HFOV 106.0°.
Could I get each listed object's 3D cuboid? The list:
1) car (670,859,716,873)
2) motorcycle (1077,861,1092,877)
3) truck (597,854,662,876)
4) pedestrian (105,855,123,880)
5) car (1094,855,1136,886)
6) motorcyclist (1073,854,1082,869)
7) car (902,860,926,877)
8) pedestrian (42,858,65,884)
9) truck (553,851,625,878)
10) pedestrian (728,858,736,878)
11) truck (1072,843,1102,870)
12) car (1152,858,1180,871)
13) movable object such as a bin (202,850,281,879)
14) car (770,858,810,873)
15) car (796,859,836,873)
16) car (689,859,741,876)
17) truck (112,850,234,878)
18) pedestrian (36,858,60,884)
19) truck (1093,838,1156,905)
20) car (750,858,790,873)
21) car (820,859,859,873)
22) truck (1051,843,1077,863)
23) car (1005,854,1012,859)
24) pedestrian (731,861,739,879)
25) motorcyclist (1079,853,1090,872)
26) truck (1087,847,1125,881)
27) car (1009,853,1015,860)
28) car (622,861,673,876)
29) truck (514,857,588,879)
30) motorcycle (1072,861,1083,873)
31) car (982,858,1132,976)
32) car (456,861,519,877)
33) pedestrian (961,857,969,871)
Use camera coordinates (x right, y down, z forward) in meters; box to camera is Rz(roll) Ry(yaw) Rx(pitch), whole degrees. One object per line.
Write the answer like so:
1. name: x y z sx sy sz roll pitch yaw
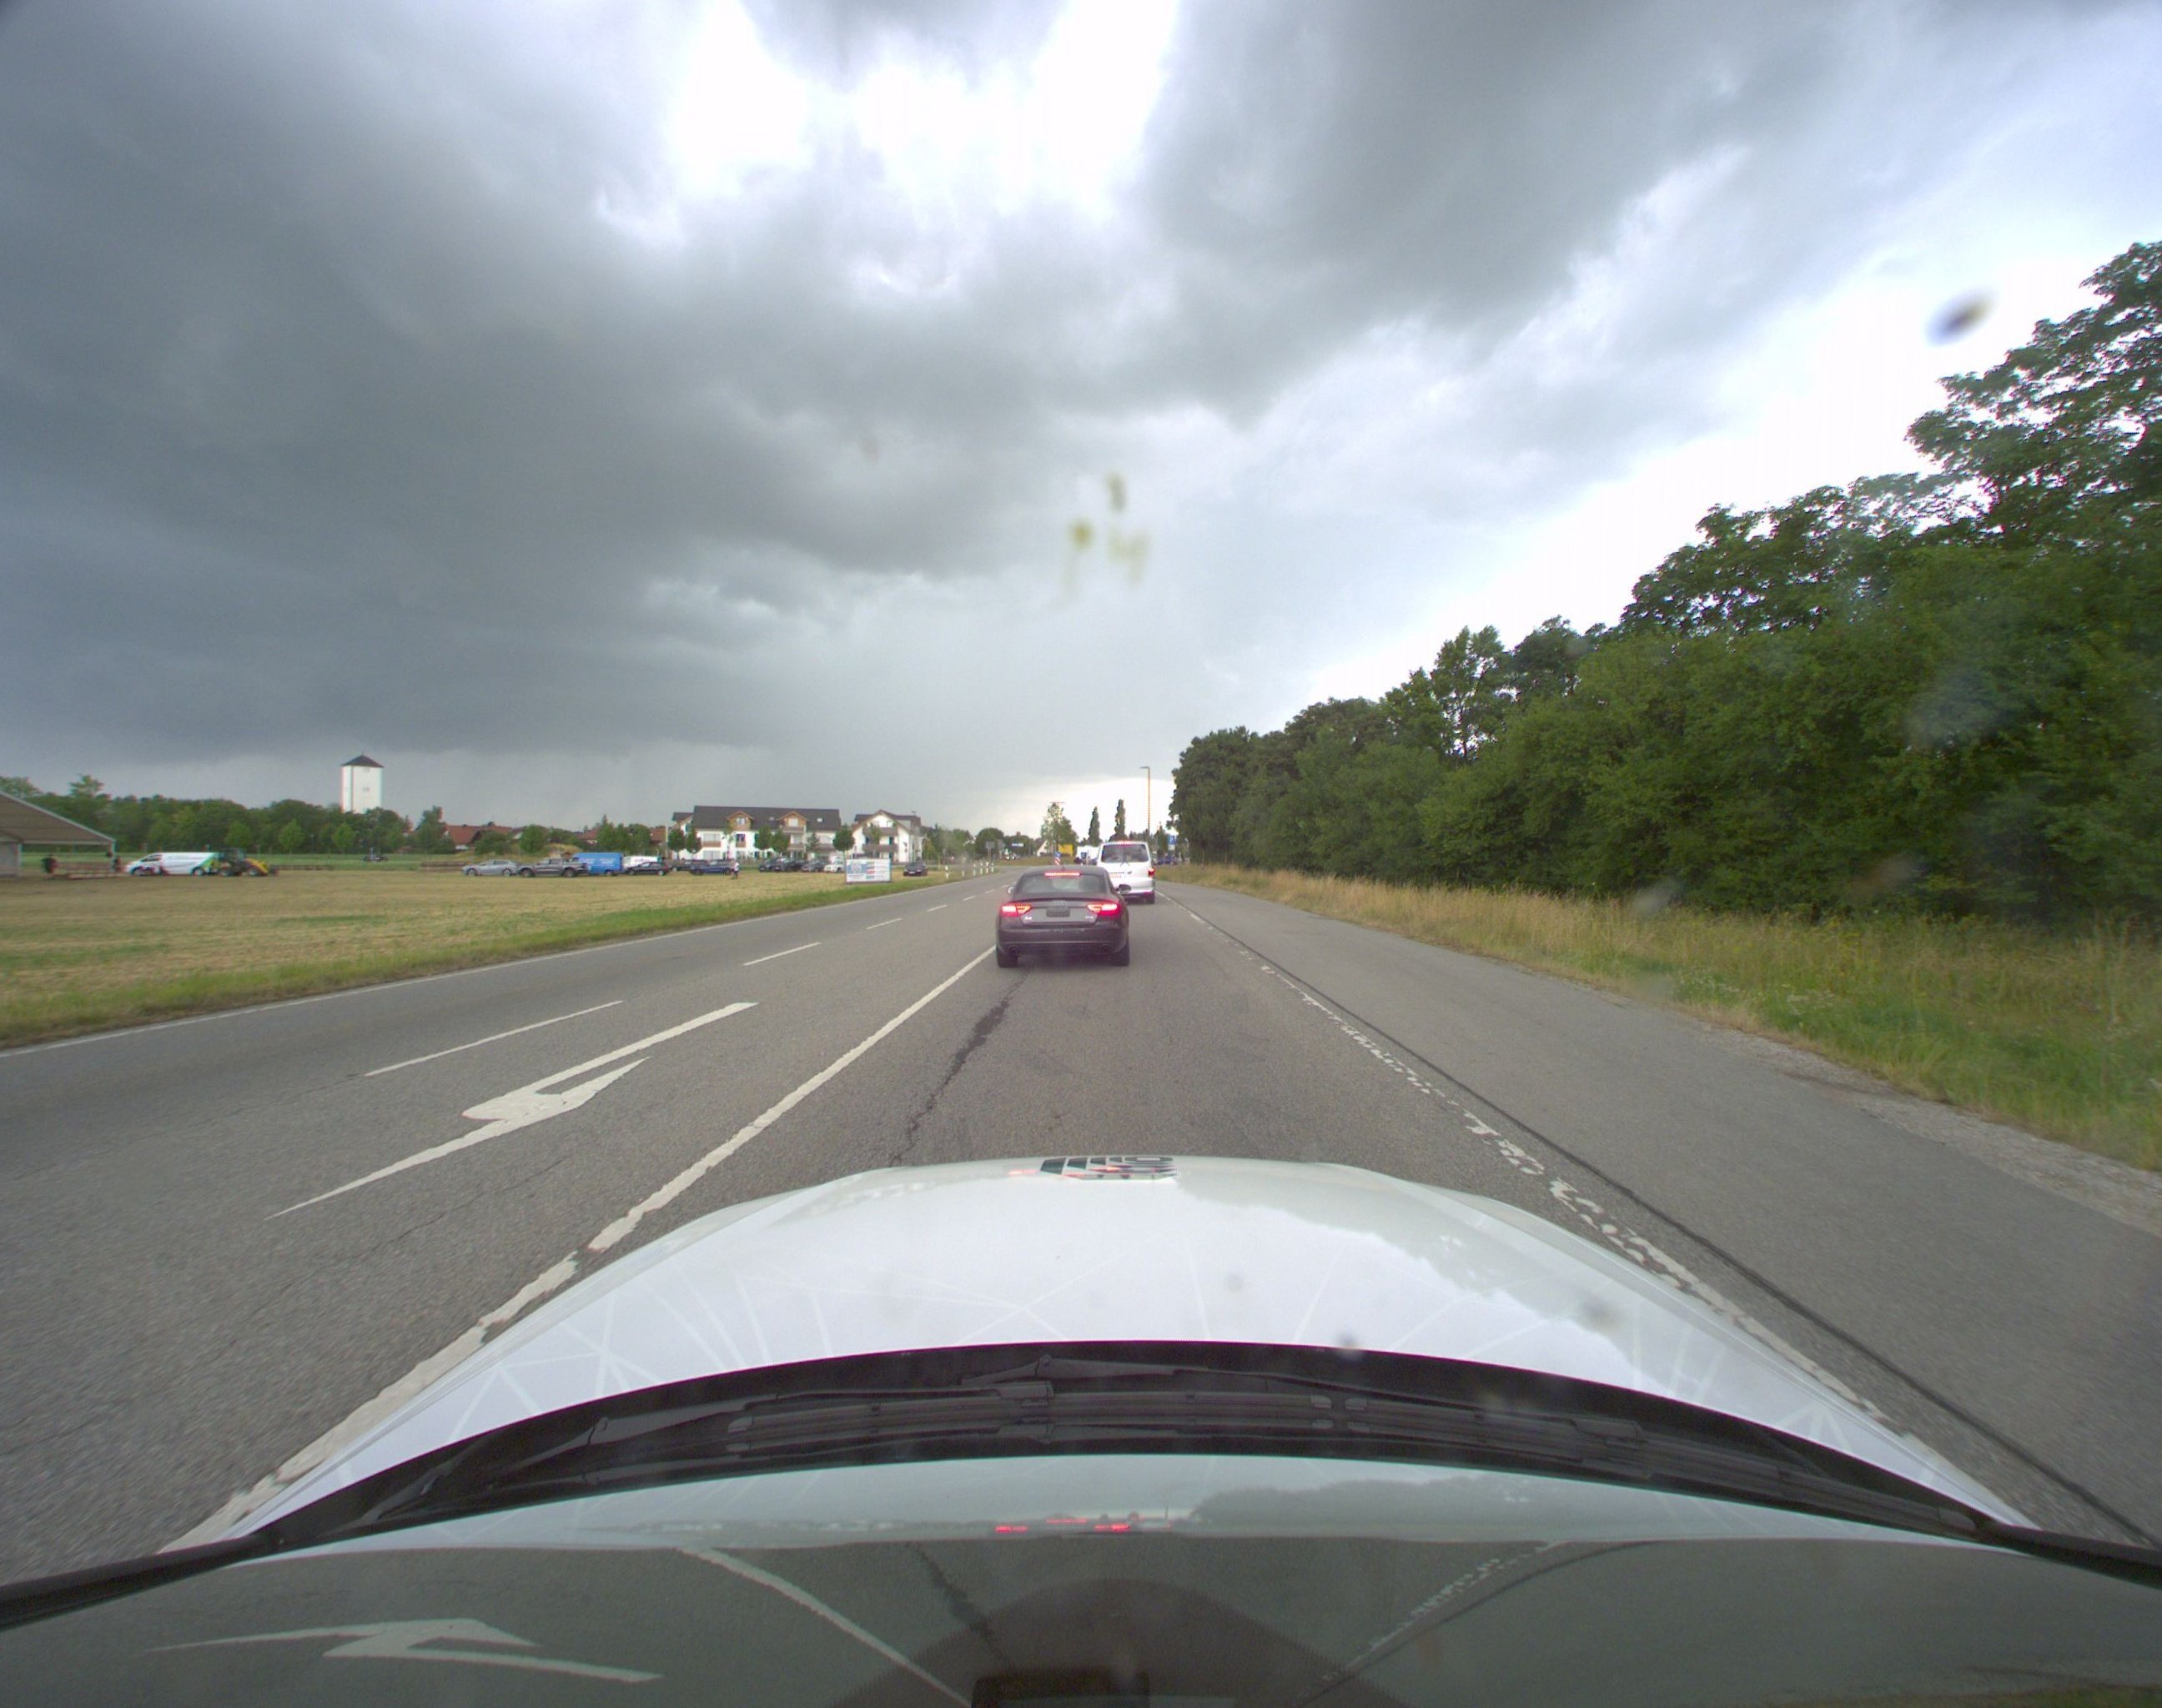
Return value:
1. car: -45.635 1.399 95.840 4.638 1.697 1.988 0 0 -18
2. motorcycle: 0.276 1.090 59.676 0.916 1.094 2.191 0 0 4
3. truck: -46.938 1.146 84.893 5.584 2.196 2.589 0 0 -21
4. pedestrian: -72.106 1.029 60.709 0.618 1.866 0.713 -1 -1 27
5. car: 1.695 0.794 40.782 1.986 1.485 4.002 0 0 2
6. motorcyclist: -0.326 0.704 73.513 0.783 1.356 0.853 0 0 -1
7. car: -15.882 1.366 77.390 1.992 1.442 3.989 0 0 -8
8. pedestrian: -68.930 1.131 54.638 0.690 1.776 0.691 0 -1 -17
9. truck: -46.602 0.956 77.252 5.467 2.446 2.377 0 -1 -21
10. pedestrian: -30.659 1.236 71.577 0.548 1.786 0.676 0 -1 -9
11. truck: 0.592 0.281 84.678 2.621 2.737 5.858 0 0 -4
12. car: 13.318 1.622 127.325 3.952 2.014 2.011 0 -1 22
13. movable object such as a bin: -67.979 0.840 66.008 4.005 2.243 1.870 0 -1 -26
14. car: -32.698 1.294 91.632 1.976 1.629 4.233 0 0 21
15. car: -29.571 1.356 91.069 1.976 1.536 4.233 0 0 21
16. car: -37.730 1.400 84.046 4.728 1.697 1.988 0 0 -18
17. truck: -74.478 0.808 66.975 6.074 2.217 2.698 0 0 -25
18. pedestrian: -70.969 1.173 55.953 0.689 1.776 0.692 0 -1 -12
19. truck: 1.412 0.520 26.694 1.896 1.998 4.631 0 0 3
20. car: -35.770 1.292 93.792 1.976 1.629 4.233 0 0 21
21. car: -26.836 1.321 90.563 1.976 1.446 4.233 0 0 21
22. truck: -3.365 -0.151 154.767 3.576 3.578 9.924 1 0 -9
23. car: -21.996 0.696 248.112 1.988 1.642 3.997 0 0 -2
24. pedestrian: -30.798 1.430 72.474 0.591 1.555 0.622 0 -1 -17
25. motorcyclist: 0.246 0.644 59.599 0.768 1.383 0.821 0 0 3
26. truck: 1.582 0.599 50.093 2.185 2.014 5.088 0 0 3
27. car: -20.385 0.851 240.642 1.990 2.014 3.993 0 0 -5
28. car: -43.558 1.461 81.937 4.166 1.519 1.988 0 0 -18
29. truck: -47.495 1.220 73.140 5.251 1.920 2.095 0 0 -24
30. motorcycle: -0.335 1.190 73.468 0.941 1.019 2.283 0 0 -1
31. car: -0.201 0.805 12.347 1.867 1.454 4.180 -1 0 3
32. car: -54.325 1.372 74.663 4.314 1.461 1.876 0 0 -24
33. pedestrian: -13.334 1.167 93.962 0.695 1.586 0.661 0 -1 19
